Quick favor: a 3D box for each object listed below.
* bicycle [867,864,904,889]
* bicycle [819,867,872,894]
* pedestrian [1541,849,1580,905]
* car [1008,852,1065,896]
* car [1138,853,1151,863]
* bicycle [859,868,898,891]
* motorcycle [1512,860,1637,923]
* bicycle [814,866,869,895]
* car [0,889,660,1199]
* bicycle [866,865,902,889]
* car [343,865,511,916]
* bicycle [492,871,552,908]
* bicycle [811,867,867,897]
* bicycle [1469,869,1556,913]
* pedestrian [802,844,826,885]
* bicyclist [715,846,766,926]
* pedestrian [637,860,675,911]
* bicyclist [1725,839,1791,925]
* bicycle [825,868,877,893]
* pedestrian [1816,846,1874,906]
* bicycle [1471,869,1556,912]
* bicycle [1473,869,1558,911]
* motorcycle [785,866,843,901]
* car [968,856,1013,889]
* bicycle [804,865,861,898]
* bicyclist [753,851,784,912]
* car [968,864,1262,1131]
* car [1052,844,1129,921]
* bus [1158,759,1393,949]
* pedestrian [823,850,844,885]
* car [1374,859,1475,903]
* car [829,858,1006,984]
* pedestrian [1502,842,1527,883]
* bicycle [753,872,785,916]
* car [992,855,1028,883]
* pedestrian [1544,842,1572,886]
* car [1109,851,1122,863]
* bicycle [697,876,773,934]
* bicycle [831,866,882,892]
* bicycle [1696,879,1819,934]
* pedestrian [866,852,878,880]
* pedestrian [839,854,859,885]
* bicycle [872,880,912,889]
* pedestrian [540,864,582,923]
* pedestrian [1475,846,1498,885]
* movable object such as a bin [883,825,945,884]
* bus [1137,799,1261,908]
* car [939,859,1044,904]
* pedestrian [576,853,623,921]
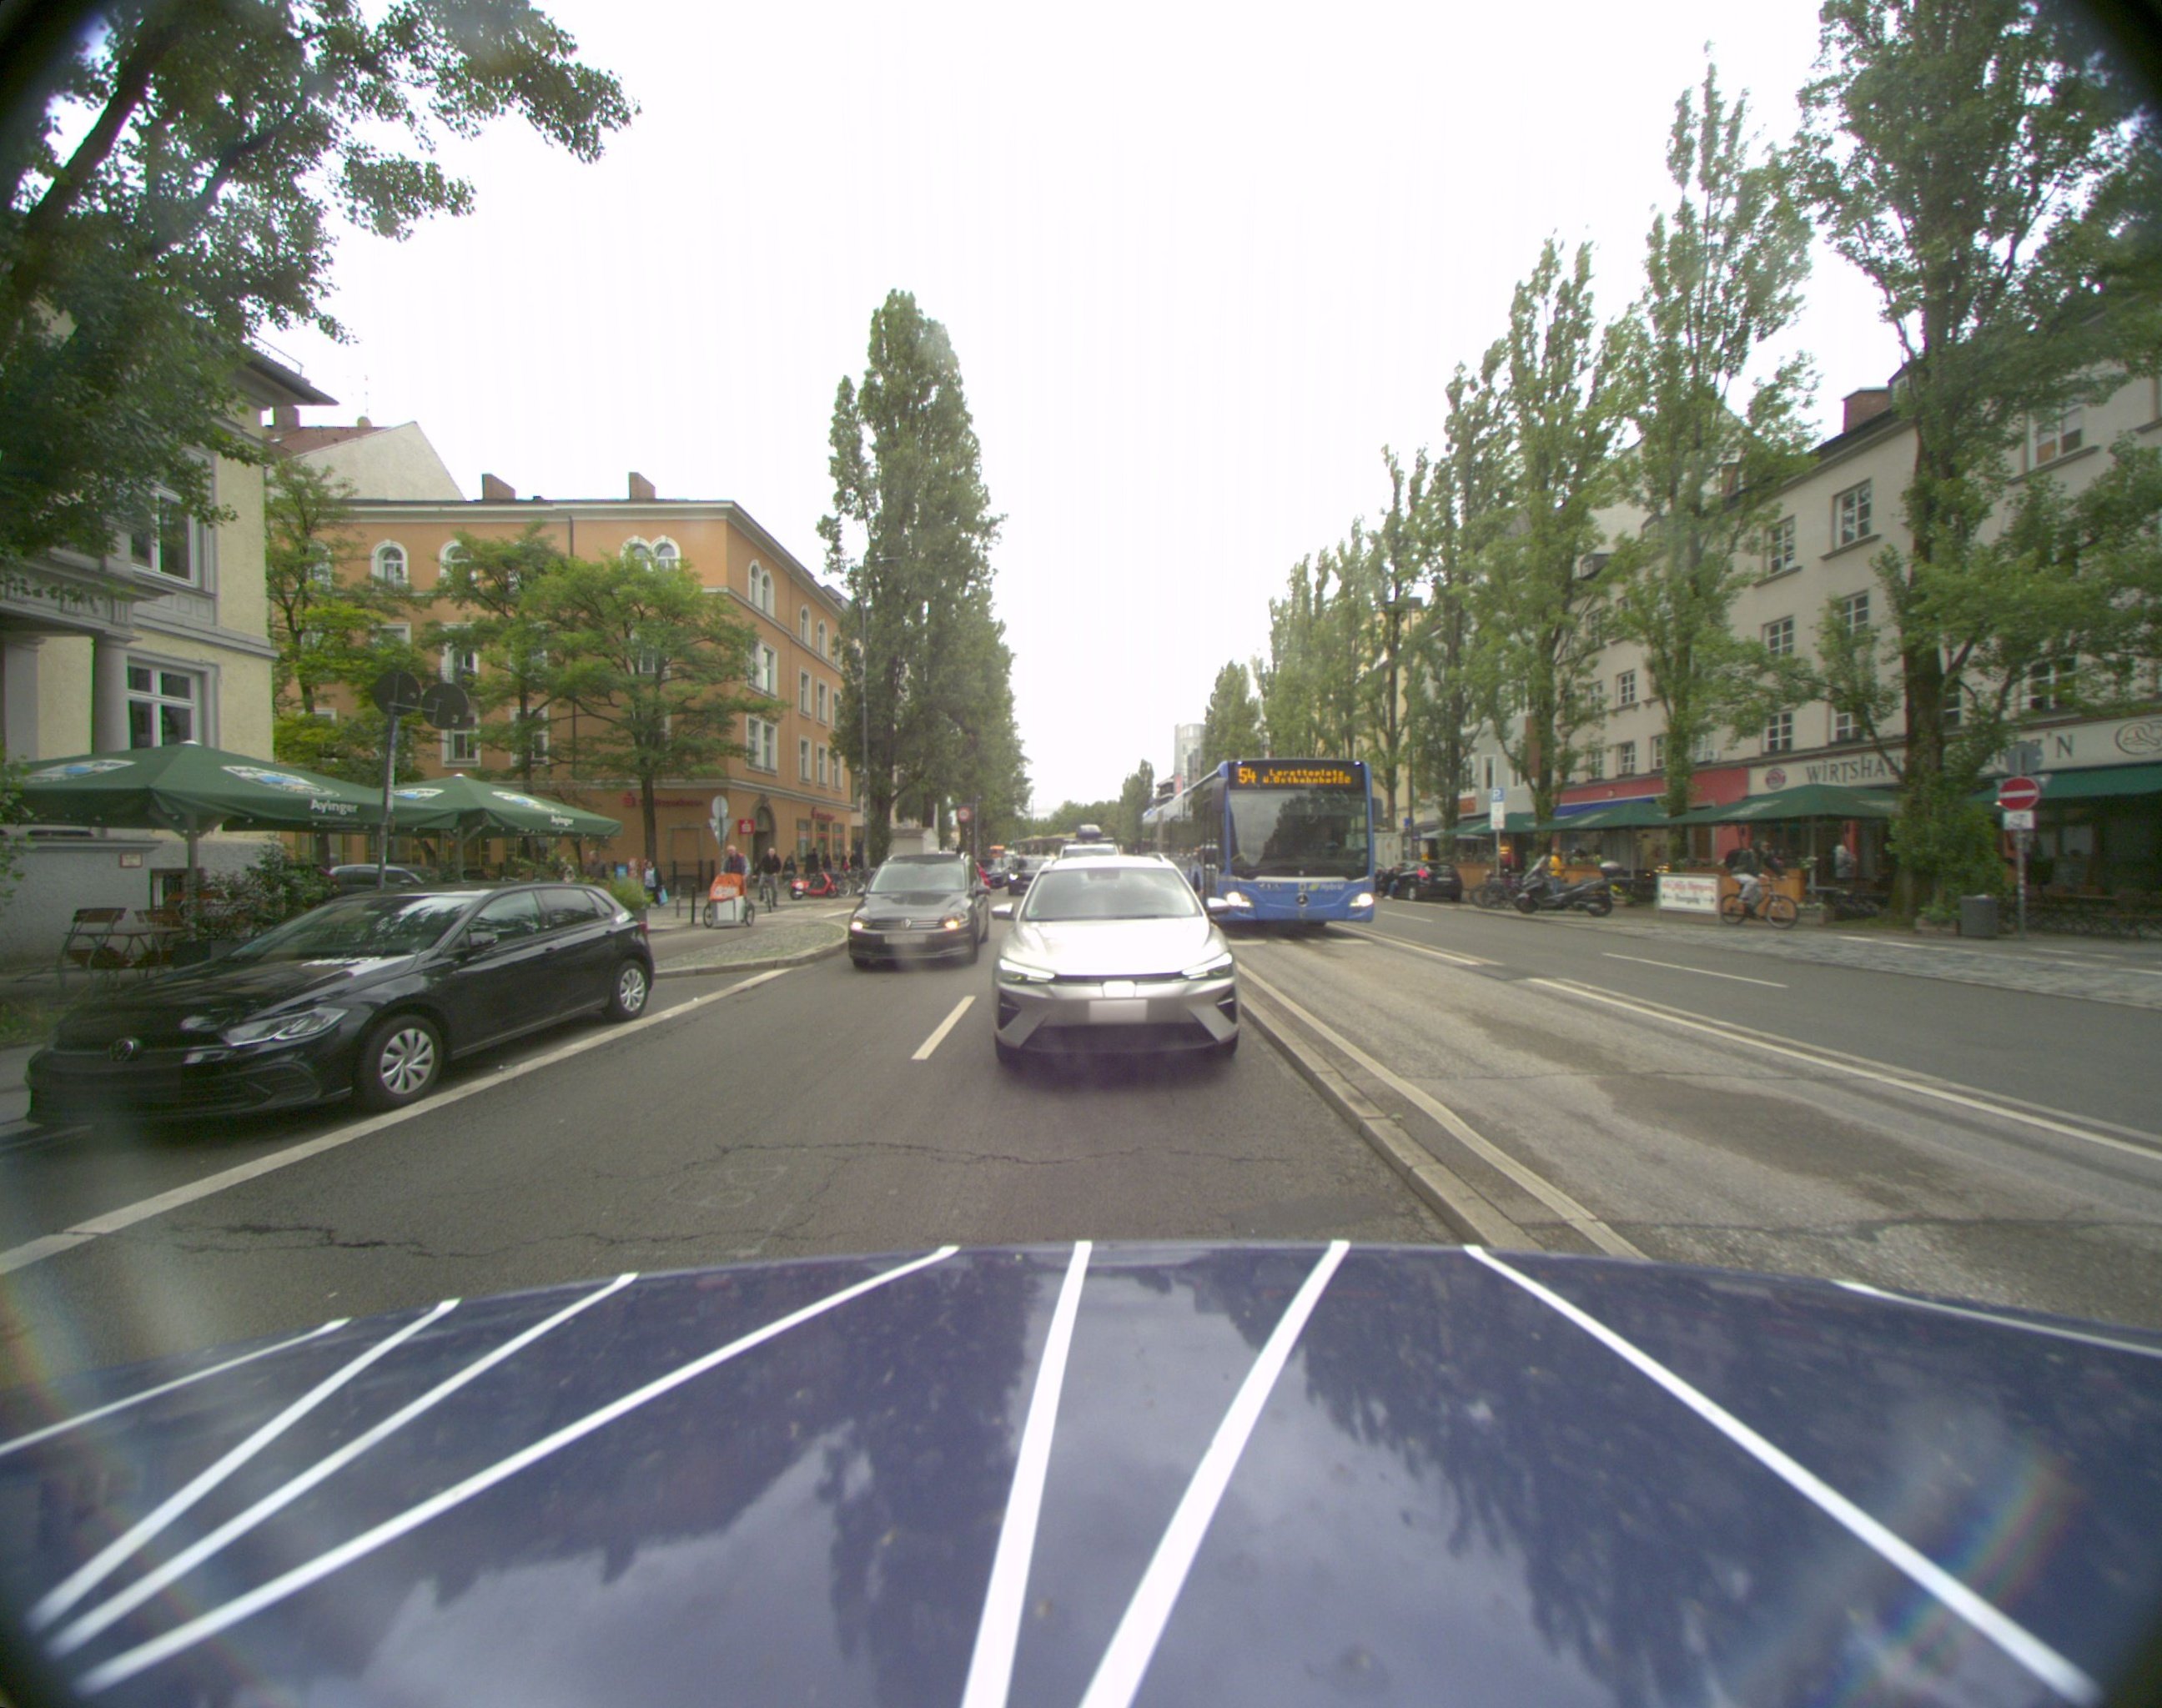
[{"bbox_3d":[-8.982,1.027,34.941,1.604,1.078,0.341,-1,1,-22],"label":"bicycle"},{"bbox_3d":[-9.461,1.061,30.613,1.945,1.069,0.561,-1,1,1],"label":"bicycle"},{"bbox_3d":[14.896,0.694,23.620,0.731,1.716,0.700,0,1,-2],"label":"pedestrian"},{"bbox_3d":[-1.816,0.795,32.051,1.705,1.683,4.005,-2,0,6],"label":"car"},{"bbox_3d":[9.259,0.562,111.016,1.718,1.532,4.076,1,0,1],"label":"car"},{"bbox_3d":[-8.906,1.118,33.434,1.602,1.004,0.342,-1,1,-6],"label":"bicycle"},{"bbox_3d":[11.987,0.860,18.563,0.747,1.406,2.448,0,0,-33],"label":"motorcycle"},{"bbox_3d":[-9.402,1.036,29.869,1.945,1.082,0.561,-1,1,1],"label":"bicycle"},{"bbox_3d":[-5.234,1.091,5.946,1.698,1.408,3.950,-1,0,-1],"label":"car"},{"bbox_3d":[-9.139,1.048,35.272,1.610,1.078,0.321,-1,1,-22],"label":"bicycle"},{"bbox_3d":[-22.250,1.213,25.988,3.997,1.511,1.906,-2,1,-1],"label":"car"},{"bbox_3d":[-21.937,1.381,29.834,1.945,1.364,0.561,-2,1,1],"label":"bicycle"},{"bbox_3d":[-9.308,1.067,29.218,1.945,1.130,0.561,-1,1,1],"label":"bicycle"},{"bbox_3d":[11.602,0.991,20.458,1.976,1.119,0.361,-1,1,37],"label":"bicycle"},{"bbox_3d":[-12.844,0.495,36.607,0.840,1.937,0.801,-2,1,-4],"label":"pedestrian"},{"bbox_3d":[-7.600,0.702,16.987,0.831,1.747,0.667,-1,1,-6],"label":"bicyclist"},{"bbox_3d":[-13.510,0.991,24.169,0.745,1.562,0.664,-2,1,3],"label":"pedestrian"},{"bbox_3d":[13.760,0.553,15.468,0.606,1.695,0.816,-1,1,2],"label":"bicyclist"},{"bbox_3d":[-9.447,1.083,31.217,1.945,1.004,0.561,-1,1,1],"label":"bicycle"},{"bbox_3d":[21.436,0.599,21.337,0.699,1.637,0.929,0,1,6],"label":"pedestrian"},{"bbox_3d":[11.792,0.988,20.741,1.976,1.119,0.283,-1,1,37],"label":"bicycle"},{"bbox_3d":[11.966,0.979,20.966,1.976,1.119,0.283,-1,1,37],"label":"bicycle"},{"bbox_3d":[-9.695,1.058,27.613,1.963,1.214,0.514,-1,1,-25],"label":"motorcycle"},{"bbox_3d":[-4.665,0.913,39.685,1.789,1.544,4.498,-2,0,0],"label":"car"},{"bbox_3d":[-9.347,1.026,28.575,1.945,1.232,0.561,-1,1,1],"label":"bicycle"},{"bbox_3d":[-8.795,0.758,21.425,0.742,1.677,0.747,-1,1,-20],"label":"bicyclist"},{"bbox_3d":[0.212,0.903,6.649,1.742,1.510,4.033,-2,0,0],"label":"car"},{"bbox_3d":[0.244,0.669,21.255,1.839,1.831,5.129,-2,1,0],"label":"car"},{"bbox_3d":[3.523,-0.014,16.791,2.696,2.932,10.052,0,0,0],"label":"bus"},{"bbox_3d":[-12.008,0.632,36.868,0.746,1.651,0.770,-2,1,-6],"label":"pedestrian"},{"bbox_3d":[12.266,0.916,27.400,1.760,1.414,3.784,1,0,-2],"label":"car"},{"bbox_3d":[-2.386,0.902,12.200,1.882,1.582,4.192,-2,0,0],"label":"car"},{"bbox_3d":[20.428,0.385,35.846,0.699,1.915,0.905,0,1,4],"label":"pedestrian"},{"bbox_3d":[-8.780,1.106,21.425,0.738,1.113,2.098,-1,0,-20],"label":"bicycle"},{"bbox_3d":[-4.352,0.884,47.099,1.789,1.604,4.498,-2,0,0],"label":"car"},{"bbox_3d":[21.128,0.452,33.641,0.699,1.915,0.905,0,1,4],"label":"pedestrian"},{"bbox_3d":[5.495,0.481,122.419,1.998,2.002,4.000,0,0,1],"label":"car"},{"bbox_3d":[-7.569,1.091,16.753,0.887,1.113,2.100,-1,0,-6],"label":"bicycle"},{"bbox_3d":[-9.438,1.050,31.965,1.945,1.078,0.561,-1,1,1],"label":"bicycle"},{"bbox_3d":[13.760,1.032,15.553,0.613,0.963,2.174,-1,0,1],"label":"bicycle"},{"bbox_3d":[-13.014,0.748,47.352,0.619,1.684,0.574,-2,1,-8],"label":"pedestrian"},{"bbox_3d":[-11.995,0.798,39.242,0.745,1.562,0.614,-2,1,3],"label":"pedestrian"},{"bbox_3d":[-8.502,1.374,34.195,1.677,0.371,0.830,1,0,-7],"label":"bicycle"},{"bbox_3d":[-14.271,1.086,20.862,0.699,1.562,0.575,-2,1,3],"label":"pedestrian"},{"bbox_3d":[20.568,0.571,38.536,0.699,1.915,0.905,0,1,4],"label":"pedestrian"},{"bbox_3d":[-9.360,0.002,43.009,2.445,3.119,4.543,1,0,1],"label":"movable object such as a bin"},{"bbox_3d":[3.587,-0.027,25.720,2.690,2.932,10.052,0,0,0],"label":"bus"},{"bbox_3d":[-3.212,0.977,28.079,1.613,1.425,4.011,-1,0,33],"label":"car"},{"bbox_3d":[-12.970,0.875,20.483,0.699,1.756,0.732,-2,1,4],"label":"pedestrian"}]
